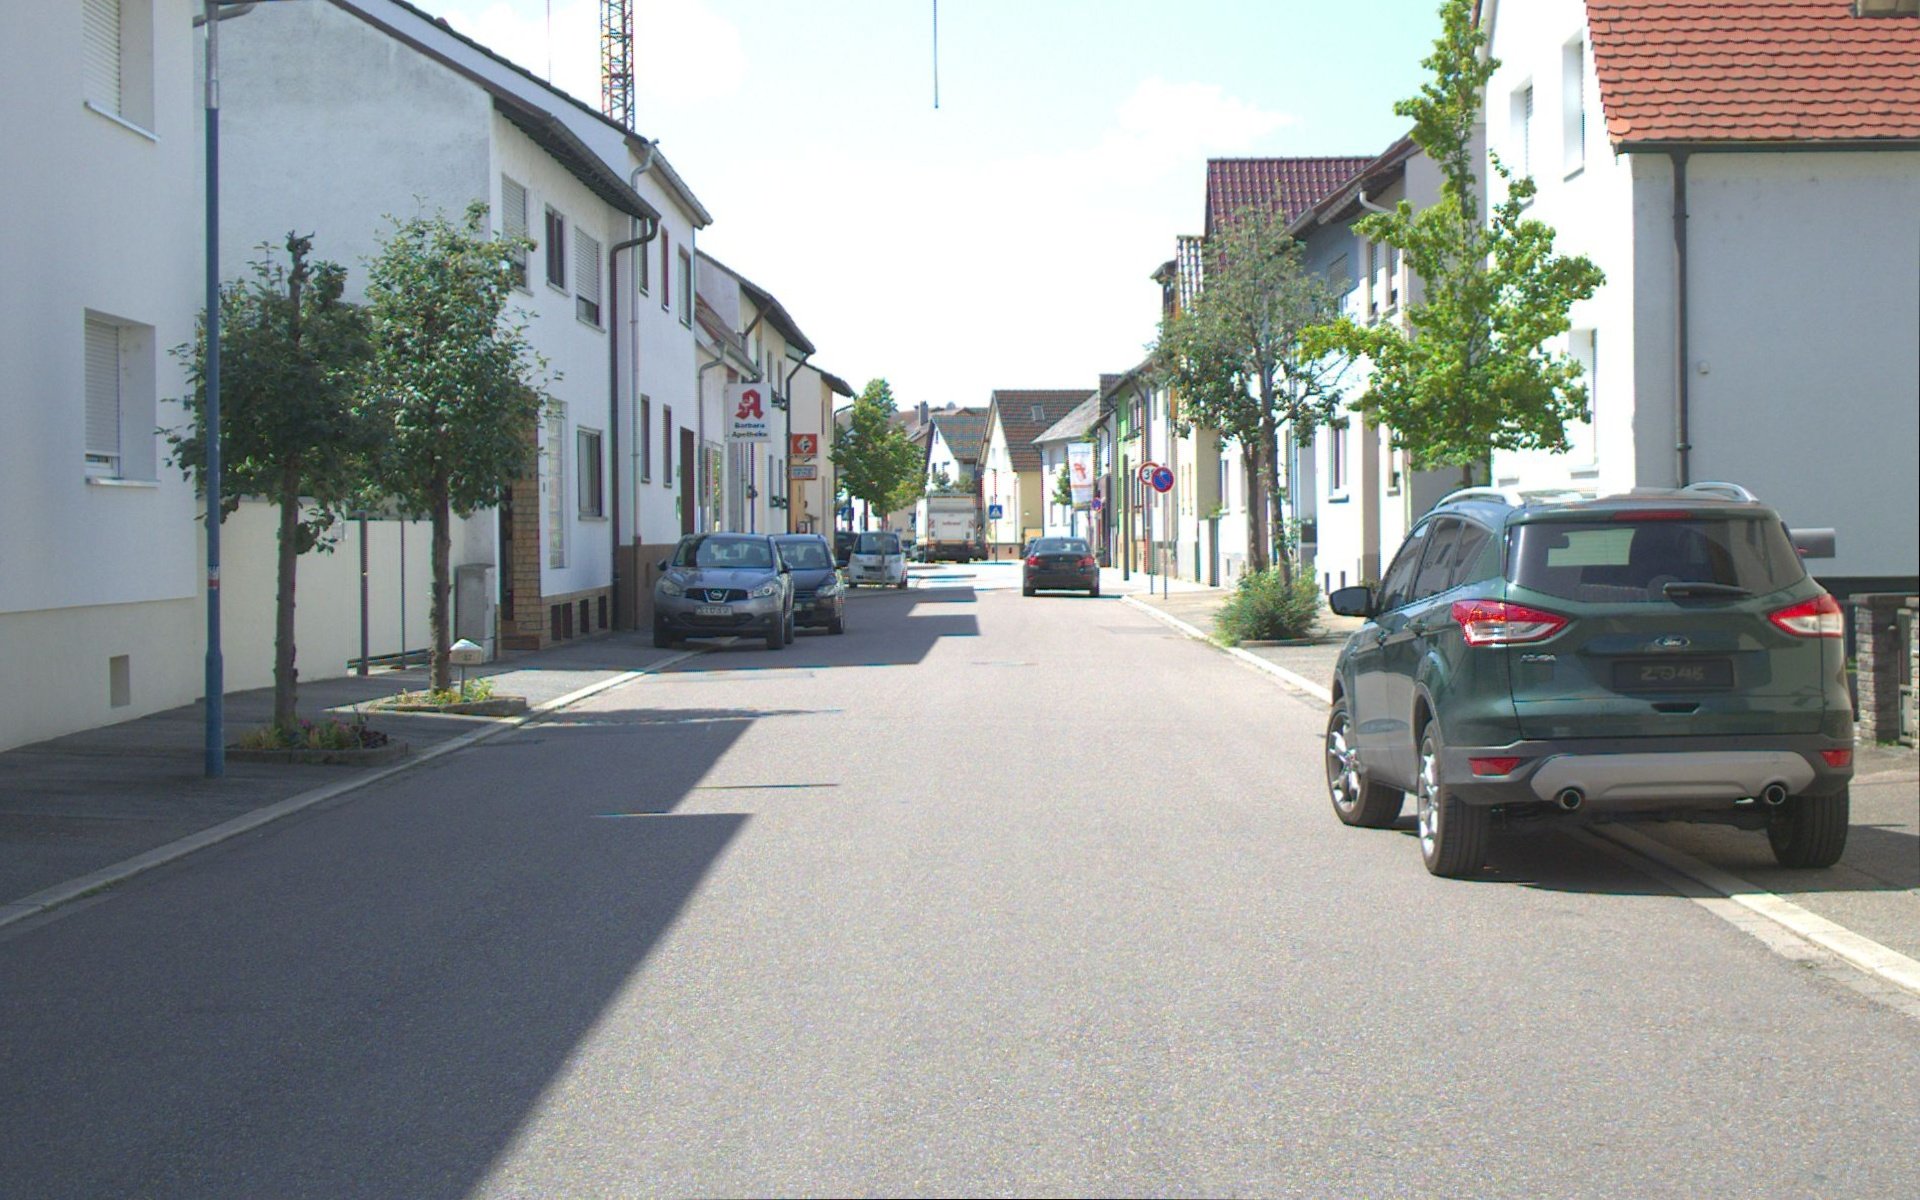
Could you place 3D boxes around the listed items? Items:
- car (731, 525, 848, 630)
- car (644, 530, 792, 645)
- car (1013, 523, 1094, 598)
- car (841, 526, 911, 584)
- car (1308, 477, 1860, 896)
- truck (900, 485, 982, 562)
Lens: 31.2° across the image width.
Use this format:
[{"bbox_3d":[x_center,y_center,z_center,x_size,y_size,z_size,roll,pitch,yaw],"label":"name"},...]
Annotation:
[{"bbox_3d":[-2.683,-0.390,54.889,1.653,1.603,4.061,-1,1,0],"label":"car"},{"bbox_3d":[-3.349,-0.213,48.225,1.758,1.519,4.289,-1,1,0],"label":"car"},{"bbox_3d":[2.258,-0.963,83.971,1.783,1.747,4.000,-1,1,0],"label":"car"},{"bbox_3d":[-2.273,-1.251,94.298,1.723,1.550,4.172,1,1,1],"label":"car"},{"bbox_3d":[2.792,0.312,16.313,1.728,1.711,4.276,-1,1,-2],"label":"car"},{"bbox_3d":[-1.105,-3.998,182.255,3.378,3.852,13.928,-1,1,-4],"label":"truck"}]
